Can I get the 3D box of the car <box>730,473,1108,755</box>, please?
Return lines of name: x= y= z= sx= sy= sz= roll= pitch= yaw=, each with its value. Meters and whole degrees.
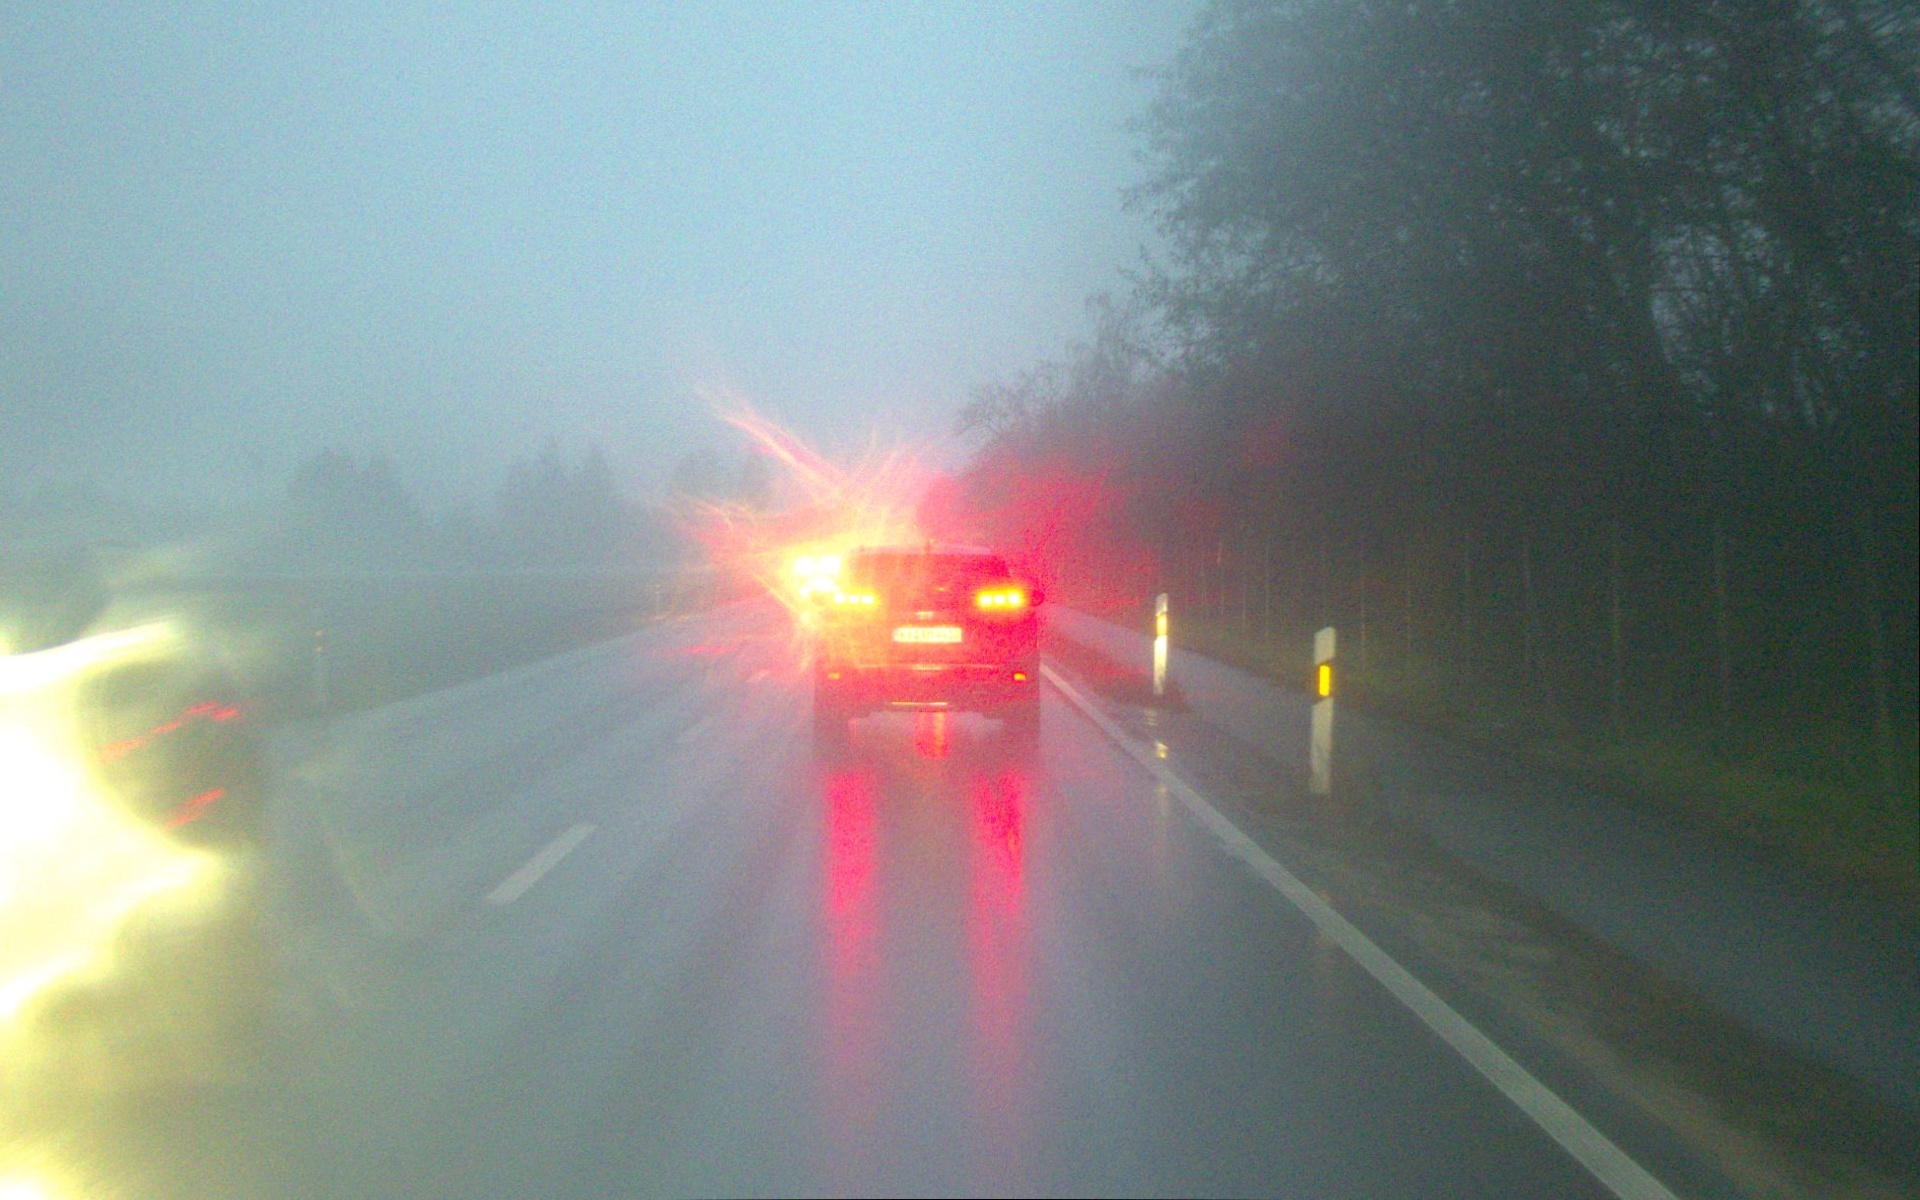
car: x=-0.309 y=0.070 z=28.882 sx=2.820 sy=2.070 sz=5.804 roll=1 pitch=1 yaw=0

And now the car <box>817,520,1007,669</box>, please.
car: x=-0.662 y=-0.110 z=50.385 sx=2.592 sy=2.007 sz=5.804 roll=1 pitch=1 yaw=0

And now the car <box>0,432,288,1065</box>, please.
car: x=-3.705 y=0.436 z=11.871 sx=1.993 sy=1.816 sz=4.000 roll=-2 pitch=1 yaw=-1
